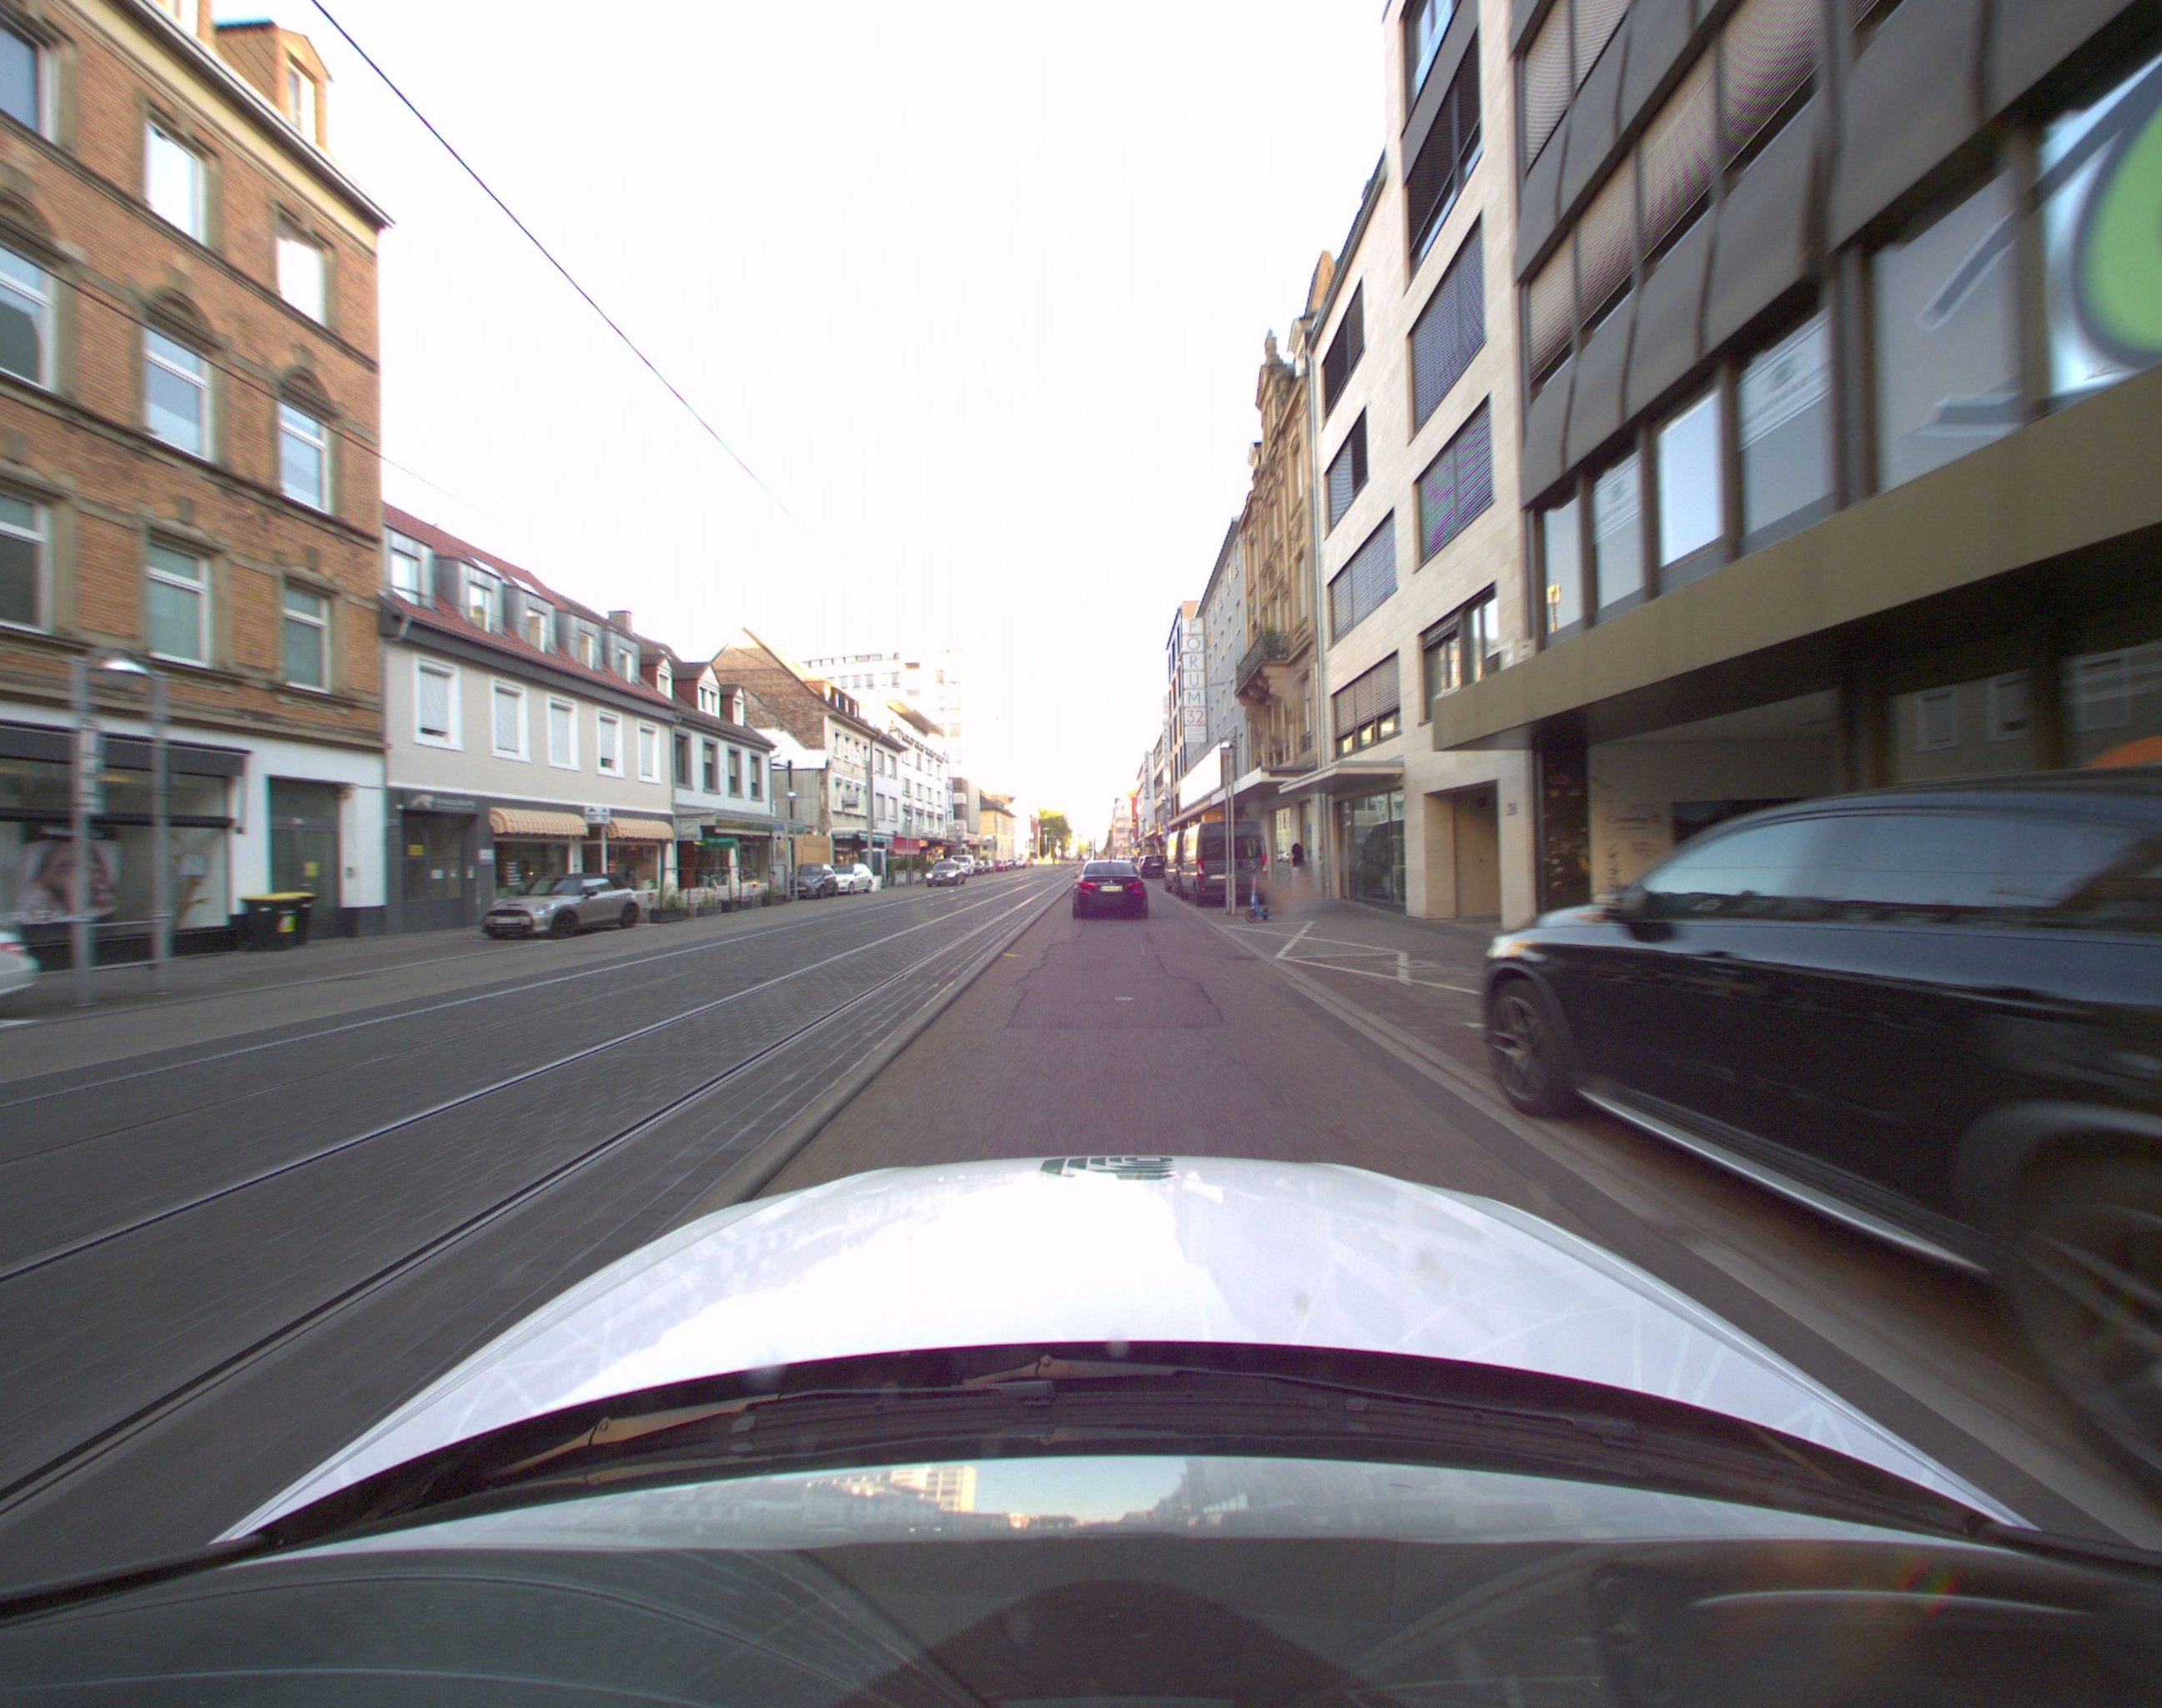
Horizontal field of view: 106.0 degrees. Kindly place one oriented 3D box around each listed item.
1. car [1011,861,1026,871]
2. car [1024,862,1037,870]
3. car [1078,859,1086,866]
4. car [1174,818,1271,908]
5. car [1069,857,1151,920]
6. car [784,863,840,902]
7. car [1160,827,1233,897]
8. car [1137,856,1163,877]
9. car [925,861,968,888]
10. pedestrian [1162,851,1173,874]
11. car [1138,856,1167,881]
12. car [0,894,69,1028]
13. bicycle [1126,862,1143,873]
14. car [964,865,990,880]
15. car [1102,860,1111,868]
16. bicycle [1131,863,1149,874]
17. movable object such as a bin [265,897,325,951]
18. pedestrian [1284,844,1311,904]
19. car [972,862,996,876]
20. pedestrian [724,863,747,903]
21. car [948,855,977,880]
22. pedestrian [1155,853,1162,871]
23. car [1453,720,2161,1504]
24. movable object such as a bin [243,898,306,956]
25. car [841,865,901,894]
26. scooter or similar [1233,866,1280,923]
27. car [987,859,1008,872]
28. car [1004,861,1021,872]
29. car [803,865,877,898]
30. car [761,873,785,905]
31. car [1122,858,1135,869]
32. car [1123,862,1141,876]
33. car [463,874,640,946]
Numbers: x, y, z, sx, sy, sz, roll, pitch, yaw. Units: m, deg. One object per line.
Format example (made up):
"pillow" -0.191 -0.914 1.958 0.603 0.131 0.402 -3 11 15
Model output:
"car" -9.487 1.837 123.736 1.921 1.435 4.247 0 0 2
"car" -9.060 2.151 146.860 1.921 1.435 4.247 0 0 2
"car" 0.261 2.330 226.568 1.986 1.838 4.000 -1 -3 1
"car" 4.354 0.275 26.136 2.085 2.455 6.033 -3 0 1
"car" 0.806 0.844 21.687 1.945 1.498 4.468 0 -1 3
"car" -11.703 1.208 35.591 1.472 1.577 2.794 -2 -1 0
"car" 4.498 0.304 32.533 2.027 2.455 5.408 -3 0 0
"car" 5.058 0.891 59.974 1.554 1.442 3.710 -4 0 1
"car" -8.120 1.194 49.463 1.685 1.453 4.467 -3 0 2
"pedestrian" 6.732 0.683 63.528 0.686 1.740 0.821 -3 -1 3
"car" 4.813 0.961 55.067 1.649 1.537 3.886 -3 0 1
"car" -12.927 1.176 7.320 1.863 1.453 4.608 1 -1 -1
"bicycle" 5.895 1.508 89.742 1.854 1.119 0.469 -1 -2 2
"car" -10.514 1.816 82.560 1.921 1.435 4.247 0 0 2
"car" 5.043 2.070 161.980 1.768 1.549 3.504 -1 -1 1
"bicycle" 6.094 1.484 83.999 1.854 1.080 0.469 -1 -2 2
"movable object such as a bin" -15.748 1.387 16.329 0.493 1.033 0.694 0 -1 1
"pedestrian" 6.072 0.552 22.859 0.548 1.644 0.533 -3 -1 1
"car" -10.595 1.662 89.169 1.921 1.435 4.247 0 0 2
"pedestrian" -14.523 1.225 34.250 0.660 1.644 0.694 -1 -1 2
"car" -10.843 1.232 74.854 1.988 2.156 4.907 -1 0 -2
"pedestrian" 7.787 0.761 81.786 0.552 1.791 0.760 -2 -1 1
"car" 3.390 0.547 3.029 1.986 1.727 4.567 -2 -1 2
"movable object such as a bin" -15.411 1.387 15.570 0.516 1.043 0.659 0 -1 1
"car" -11.545 1.355 45.068 1.985 1.453 4.332 -1 0 3
"scooter or similar" 4.010 0.906 18.540 0.493 1.220 1.273 -2 -1 38
"car" -10.159 1.384 99.035 1.921 1.435 4.247 0 0 2
"car" -9.819 1.806 117.608 1.921 1.435 4.247 -1 0 2
"car" -11.755 1.306 40.089 1.985 1.453 4.825 -1 0 3
"car" -12.294 1.400 32.493 0.781 1.234 0.339 -2 -1 -1
"car" 6.701 1.334 114.617 1.768 1.549 3.504 -1 -1 1
"car" 5.807 1.731 93.170 1.896 1.549 4.001 -1 -1 1
"car" -12.439 1.255 19.439 1.592 1.440 3.814 1 0 2
